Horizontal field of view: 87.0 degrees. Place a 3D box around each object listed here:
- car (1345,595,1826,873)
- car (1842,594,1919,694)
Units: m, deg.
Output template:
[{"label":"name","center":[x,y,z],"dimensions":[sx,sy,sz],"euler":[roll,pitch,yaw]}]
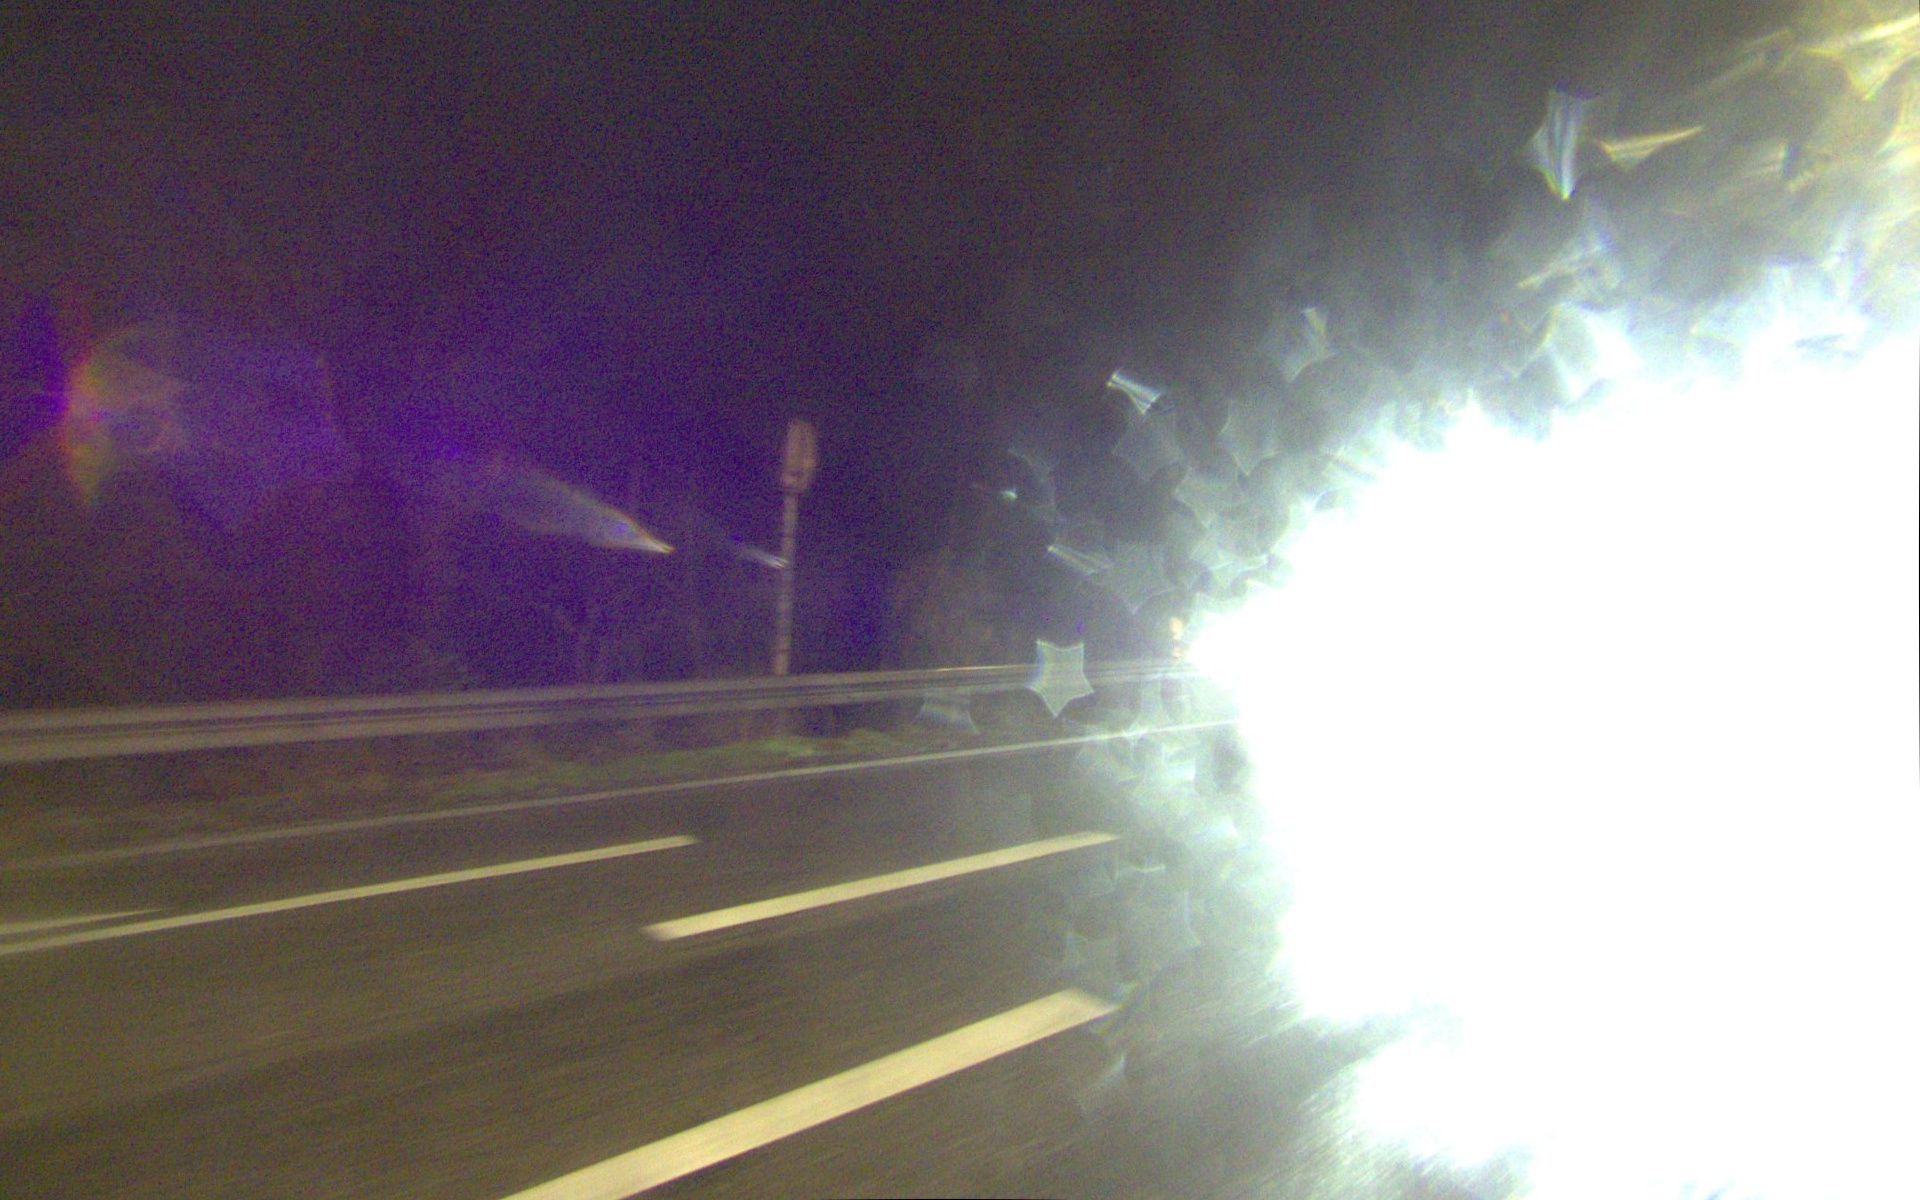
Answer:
[{"label":"car","center":[4.866,0.709,7.546],"dimensions":[4.642,1.467,1.734],"euler":[0,-1,-41]},{"label":"car","center":[16.079,0.646,16.503],"dimensions":[4.485,1.503,1.825],"euler":[0,0,-39]}]
